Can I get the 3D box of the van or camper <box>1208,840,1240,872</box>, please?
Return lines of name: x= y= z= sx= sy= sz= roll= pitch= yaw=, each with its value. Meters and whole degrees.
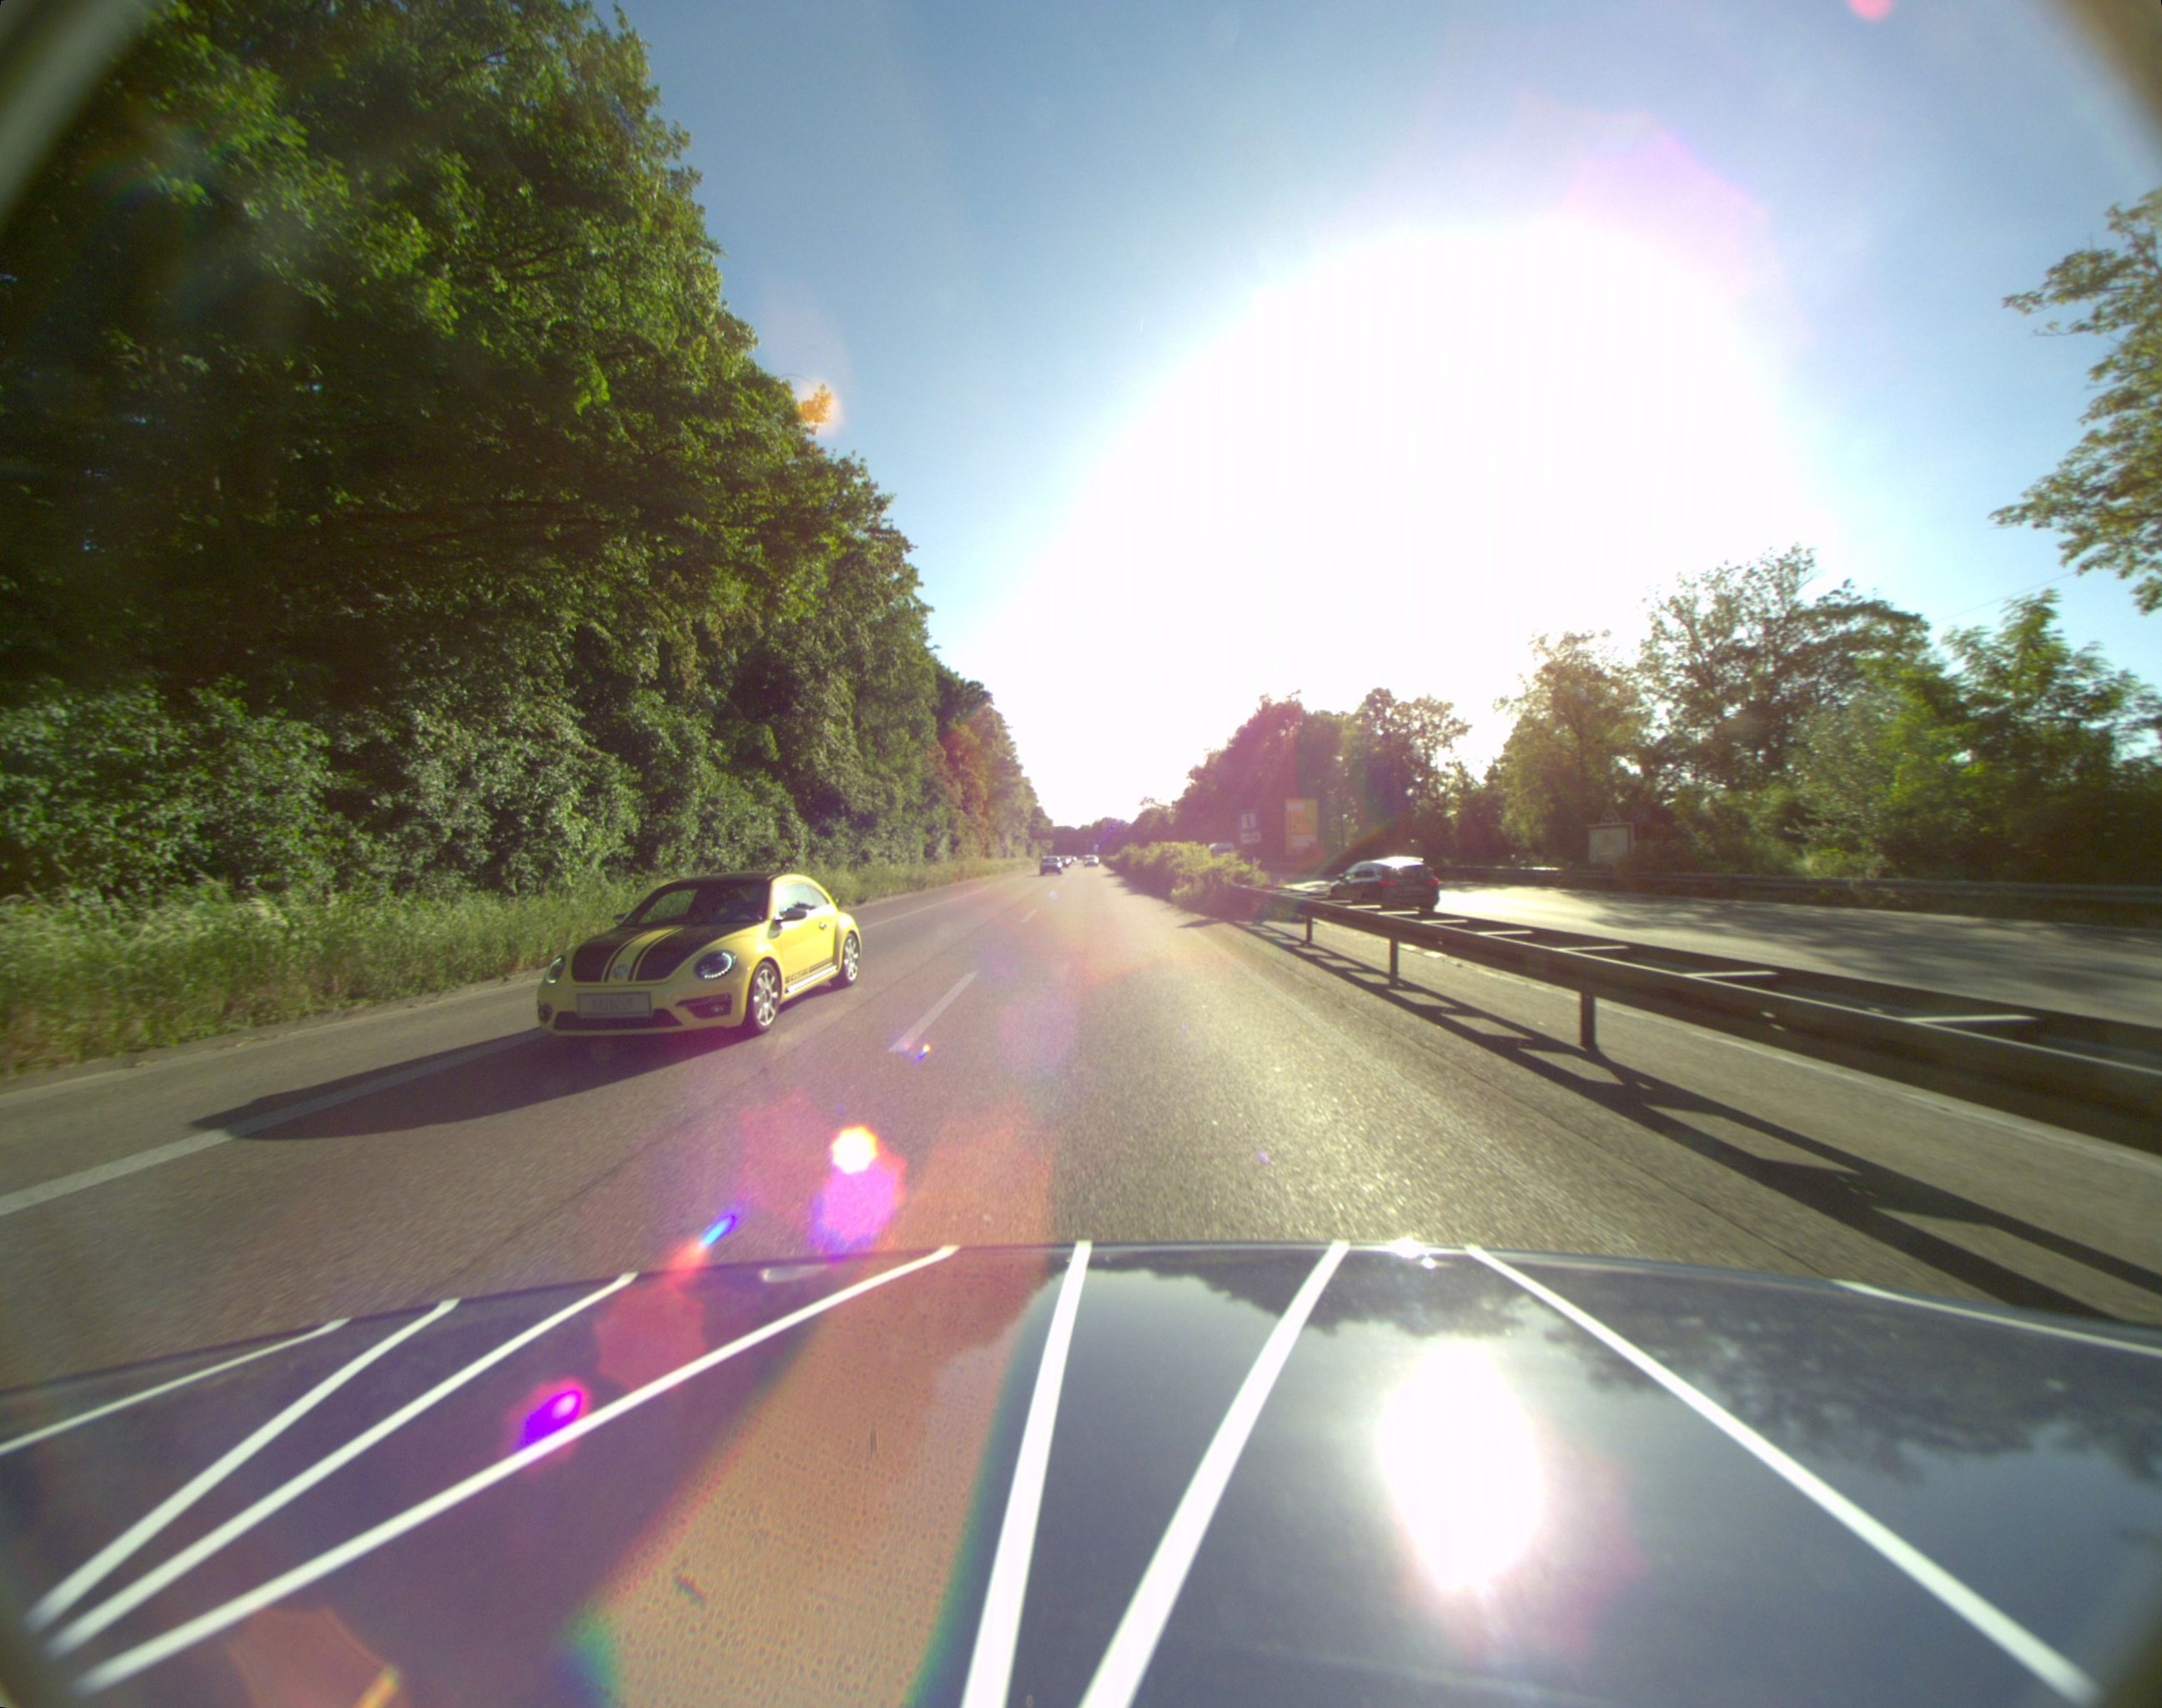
van or camper: x=12.971 y=0.171 z=69.272 sx=1.998 sy=2.706 sz=5.253 roll=-1 pitch=0 yaw=1

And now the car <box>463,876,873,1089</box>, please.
car: x=-3.781 y=1.060 z=8.040 sx=1.884 sy=1.453 sz=4.356 roll=-2 pitch=0 yaw=0

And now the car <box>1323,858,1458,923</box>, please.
car: x=8.506 y=0.935 z=21.346 sx=1.965 sy=1.531 sz=4.464 roll=-2 pitch=0 yaw=0

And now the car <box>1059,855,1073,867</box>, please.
car: x=-1.967 y=0.895 z=101.158 sx=1.801 sy=1.453 sz=4.355 roll=-1 pitch=0 yaw=-1

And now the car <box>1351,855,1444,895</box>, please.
car: x=12.731 y=0.795 z=30.895 sx=1.965 sy=1.441 sz=4.326 roll=-2 pitch=0 yaw=0

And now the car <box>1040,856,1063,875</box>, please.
car: x=-2.470 y=0.965 z=64.579 sx=1.801 sy=1.453 sz=4.355 roll=-2 pitch=0 yaw=-1

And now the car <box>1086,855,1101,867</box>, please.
car: x=1.620 y=0.914 z=100.270 sx=1.904 sy=1.453 sz=4.355 roll=-1 pitch=0 yaw=-1
